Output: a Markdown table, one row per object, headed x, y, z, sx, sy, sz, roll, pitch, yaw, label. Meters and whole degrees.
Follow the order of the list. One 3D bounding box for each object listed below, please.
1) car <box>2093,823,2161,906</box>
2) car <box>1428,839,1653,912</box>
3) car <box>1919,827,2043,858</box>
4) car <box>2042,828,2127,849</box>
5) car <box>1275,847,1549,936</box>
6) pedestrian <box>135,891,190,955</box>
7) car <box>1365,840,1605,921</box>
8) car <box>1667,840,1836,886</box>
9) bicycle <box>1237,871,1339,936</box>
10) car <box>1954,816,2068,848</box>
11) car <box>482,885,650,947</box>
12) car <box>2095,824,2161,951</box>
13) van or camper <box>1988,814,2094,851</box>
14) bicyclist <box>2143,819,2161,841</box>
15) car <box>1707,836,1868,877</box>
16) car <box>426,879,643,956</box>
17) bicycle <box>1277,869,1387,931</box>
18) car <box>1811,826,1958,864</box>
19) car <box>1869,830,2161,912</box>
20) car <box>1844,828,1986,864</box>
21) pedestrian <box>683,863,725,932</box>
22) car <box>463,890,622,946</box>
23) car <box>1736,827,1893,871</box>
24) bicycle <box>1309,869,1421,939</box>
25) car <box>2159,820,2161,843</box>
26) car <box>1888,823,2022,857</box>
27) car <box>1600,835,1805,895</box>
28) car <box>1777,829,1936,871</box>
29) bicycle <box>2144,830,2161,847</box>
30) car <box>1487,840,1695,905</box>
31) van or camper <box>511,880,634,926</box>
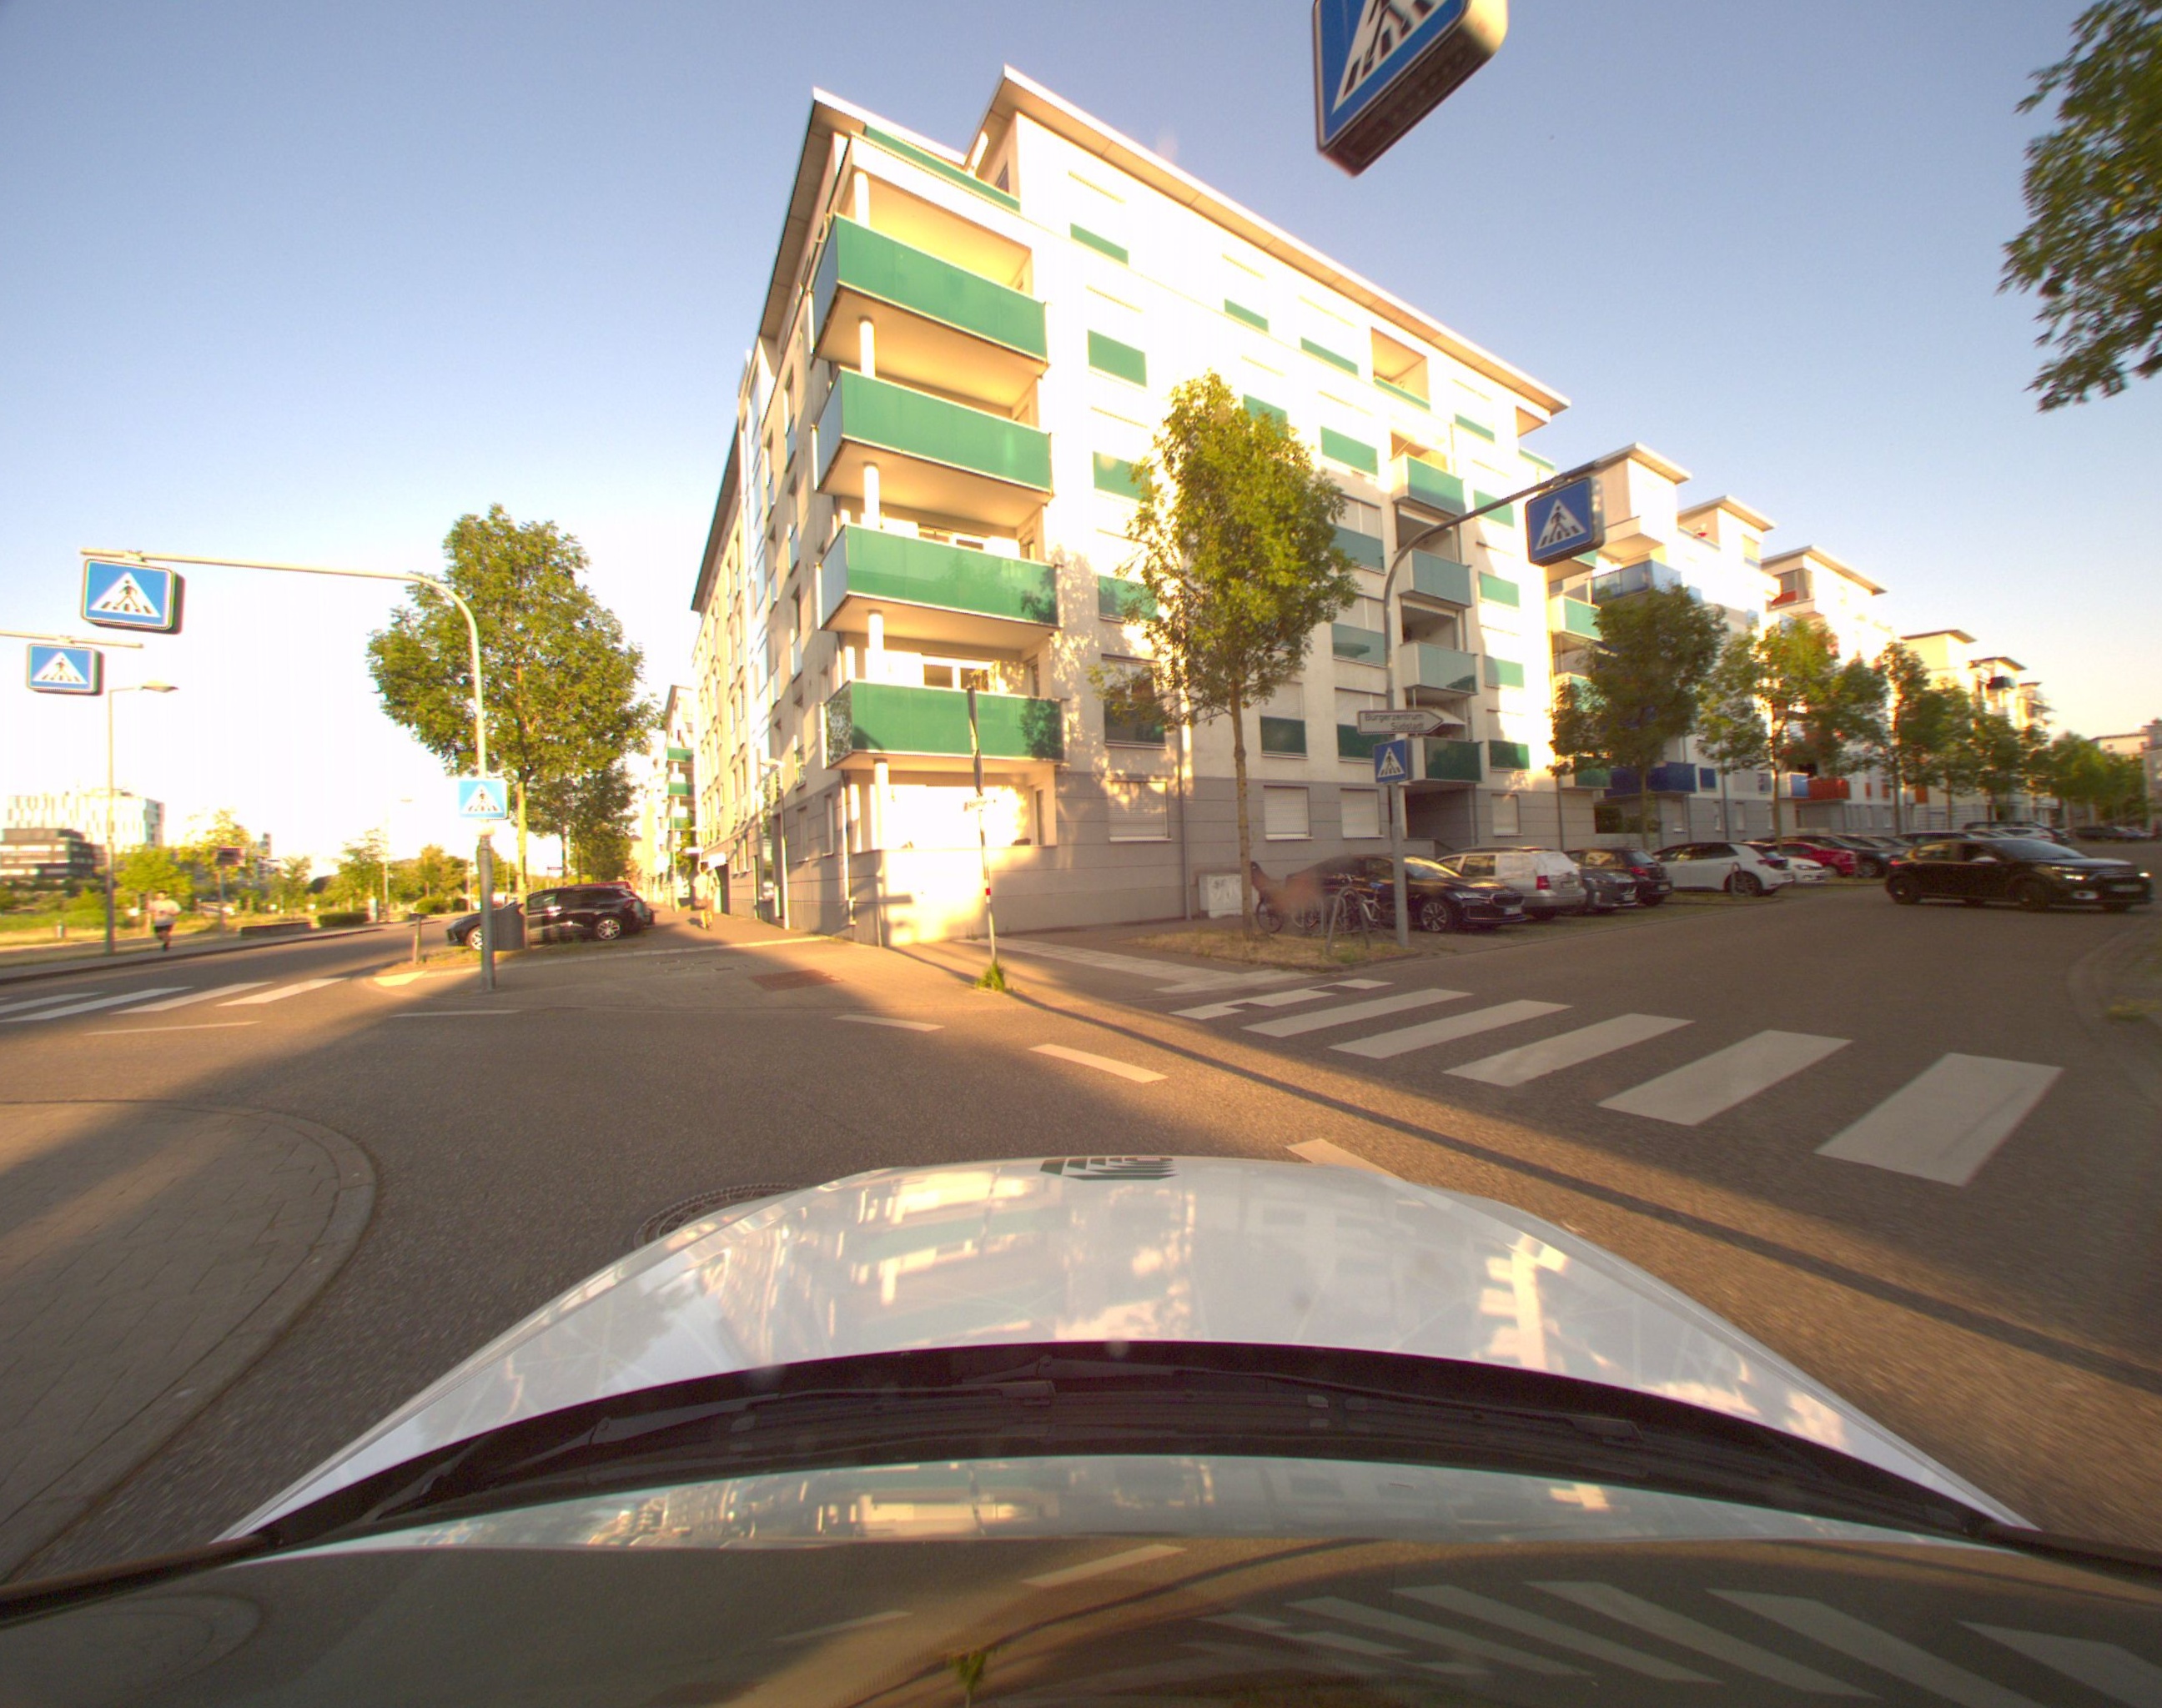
| x | y | z | sx | sy | sz | roll | pitch | yaw | label |
| --- | --- | --- | --- | --- | --- | --- | --- | --- | --- |
| 23.793 | 0.136 | 16.568 | 1.732 | 1.710 | 3.876 | -1 | -3 | -37 | car |
| 10.549 | 0.435 | 18.999 | 1.749 | 1.494 | 4.251 | -1 | 0 | -34 | car |
| 48.015 | -0.591 | 43.541 | 1.698 | 1.536 | 4.211 | -1 | 0 | -32 | car |
| 82.130 | -1.248 | 66.715 | 1.698 | 1.638 | 4.211 | -1 | 0 | -32 | car |
| 6.292 | 0.614 | 16.143 | 1.944 | 1.457 | 4.842 | -1 | 0 | -31 | car |
| -26.045 | 1.939 | 23.109 | 0.769 | 1.730 | 0.795 | -1 | -3 | -26 | pedestrian |
| 8.500 | 0.608 | 17.576 | 1.748 | 1.508 | 4.372 | -1 | -3 | -30 | car |
| 21.257 | 0.269 | 25.936 | 1.732 | 1.344 | 3.877 | -1 | 0 | -37 | car |
| 3.609 | 0.837 | 14.317 | 0.570 | 1.042 | 1.773 | 0 | 0 | -37 | bicycle |
| 54.447 | -1.243 | 47.756 | 1.698 | 1.778 | 4.211 | -1 | 0 | -32 | car |
| -15.082 | 1.758 | 24.056 | 4.021 | 1.373 | 1.544 | -4 | 0 | -32 | car |
| 14.537 | 0.221 | 8.432 | 1.718 | 1.478 | 4.864 | -1 | -4 | -35 | car |
| 61.262 | -1.323 | 52.019 | 1.699 | 2.211 | 4.210 | -1 | 0 | -34 | van or camper |
| 81.914 | -1.803 | 62.239 | 0.666 | 1.628 | 0.759 | -1 | -3 | -35 | bicyclist |
| 24.941 | 0.081 | 28.887 | 1.674 | 1.361 | 4.058 | -1 | 0 | -37 | car |
| -14.175 | 1.604 | 21.421 | 4.498 | 1.487 | 1.814 | -4 | -1 | -32 | car |
| 4.550 | 0.805 | 14.908 | 0.475 | 1.046 | 2.012 | 0 | 0 | -37 | bicycle |
| 33.690 | -0.361 | 34.240 | 1.760 | 1.509 | 4.206 | -1 | 0 | -37 | car |
| 19.115 | 0.290 | 16.798 | 1.766 | 1.462 | 4.180 | -1 | 0 | 1 | car |
| 37.629 | -0.345 | 36.856 | 1.698 | 1.536 | 4.211 | -1 | 0 | -32 | car |
| -10.948 | 1.252 | 23.616 | 0.983 | 1.894 | 1.039 | -1 | -3 | -30 | pedestrian |
| -16.943 | 1.982 | 25.828 | 4.071 | 1.480 | 1.684 | -1 | -2 | -32 | car |
| 26.954 | -0.166 | 30.030 | 1.674 | 1.509 | 4.058 | -1 | 0 | -37 | car |
| 4.757 | 0.811 | 13.754 | 0.475 | 1.072 | 1.819 | 0 | 0 | -37 | bicycle |
| 18.926 | 0.060 | 11.264 | 1.767 | 1.585 | 4.708 | -1 | -4 | -37 | car |
| 42.257 | -0.646 | 39.478 | 1.698 | 1.536 | 4.211 | -1 | 0 | -32 | car |
| 17.191 | 0.263 | 22.732 | 1.693 | 1.508 | 4.249 | -1 | 0 | -36 | car |
| 29.602 | -0.146 | 31.198 | 1.760 | 1.509 | 4.206 | -1 | 0 | -37 | car |
| 81.869 | -1.158 | 62.167 | 1.789 | 1.267 | 0.763 | -1 | -3 | -35 | bicycle |
| 12.839 | 0.407 | 20.807 | 1.745 | 1.458 | 4.262 | -1 | 0 | -24 | car |
| -25.589 | 2.420 | 41.148 | 5.150 | 2.060 | 1.858 | -1 | -3 | -33 | van or camper |
